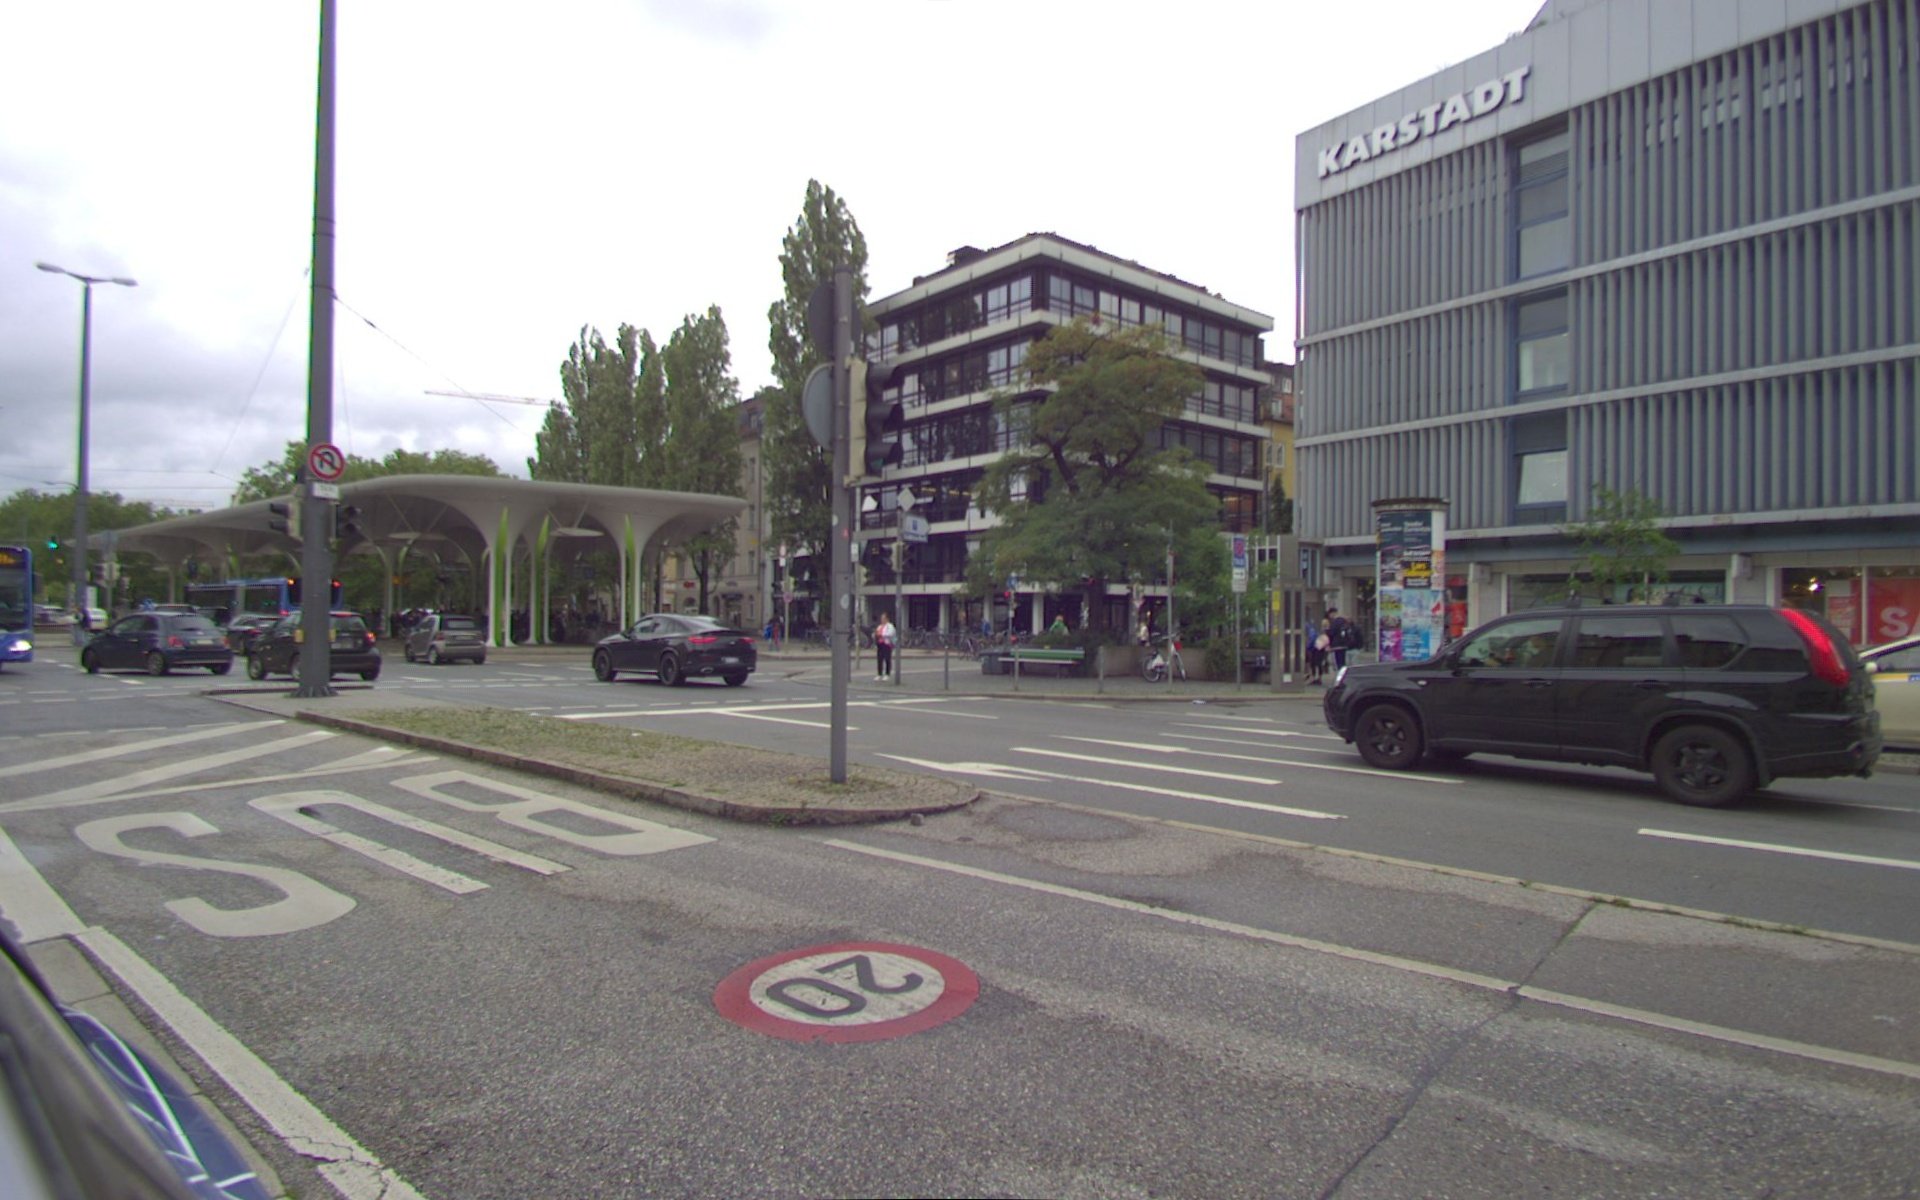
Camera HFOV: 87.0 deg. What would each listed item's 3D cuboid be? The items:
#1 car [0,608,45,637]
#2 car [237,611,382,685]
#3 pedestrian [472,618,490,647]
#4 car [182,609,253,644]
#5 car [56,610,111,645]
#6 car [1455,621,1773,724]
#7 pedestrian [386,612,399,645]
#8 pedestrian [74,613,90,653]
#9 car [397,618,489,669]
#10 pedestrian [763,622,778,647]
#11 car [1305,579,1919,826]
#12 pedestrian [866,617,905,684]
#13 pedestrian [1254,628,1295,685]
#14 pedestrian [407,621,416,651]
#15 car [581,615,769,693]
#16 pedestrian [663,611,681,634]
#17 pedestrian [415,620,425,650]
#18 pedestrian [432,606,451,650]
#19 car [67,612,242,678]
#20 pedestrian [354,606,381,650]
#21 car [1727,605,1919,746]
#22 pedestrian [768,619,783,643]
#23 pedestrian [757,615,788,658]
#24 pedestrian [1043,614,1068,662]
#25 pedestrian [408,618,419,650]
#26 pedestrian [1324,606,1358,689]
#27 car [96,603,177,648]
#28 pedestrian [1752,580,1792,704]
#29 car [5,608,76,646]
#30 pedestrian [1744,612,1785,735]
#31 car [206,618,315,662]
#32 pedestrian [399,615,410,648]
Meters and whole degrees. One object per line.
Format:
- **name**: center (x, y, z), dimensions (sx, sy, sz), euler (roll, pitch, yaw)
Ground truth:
- **car**: center (-59.328, 1.391, 63.952), dimensions (4.000, 1.696, 1.823), euler (0, 1, 42)
- **car**: center (-14.372, 1.015, 22.370), dimensions (2.776, 1.518, 1.547), euler (0, -1, 29)
- **pedestrian**: center (-22.603, 1.530, 47.739), dimensions (0.592, 1.348, 0.542), euler (-1, -2, 41)
- **car**: center (-35.052, 1.228, 47.725), dimensions (3.999, 1.597, 1.907), euler (-1, -2, 42)
- **car**: center (-46.031, 1.408, 53.128), dimensions (4.000, 1.696, 1.737), euler (0, 1, 42)
- **car**: center (10.725, 1.132, 17.029), dimensions (4.277, 1.522, 1.842), euler (0, -1, 28)
- **pedestrian**: center (-26.079, 1.318, 46.518), dimensions (0.419, 1.514, 0.491), euler (1, -2, -23)
- **pedestrian**: center (-31.974, 1.197, 36.845), dimensions (0.380, 1.430, 0.352), euler (-1, -2, 41)
- **car**: center (-16.414, 1.347, 32.096), dimensions (2.744, 1.527, 1.653), euler (-1, -2, 40)
- **pedestrian**: center (-13.054, 2.394, 69.738), dimensions (0.821, 1.712, 0.907), euler (1, -2, -27)
- **car**: center (5.936, 0.789, 9.712), dimensions (1.969, 1.791, 4.604), euler (2, -2, -42)
- **pedestrian**: center (-1.783, 1.196, 24.195), dimensions (0.754, 1.563, 0.636), euler (0, 0, 16)
- **pedestrian**: center (7.521, 1.341, 24.195), dimensions (0.774, 1.318, 0.537), euler (-1, -2, 42)
- **pedestrian**: center (-25.200, 1.639, 46.502), dimensions (0.312, 1.353, 0.340), euler (1, -2, -32)
- **car**: center (-6.560, 1.156, 23.037), dimensions (4.616, 1.589, 1.972), euler (-1, -2, 43)
- **pedestrian**: center (-22.147, 1.737, 77.784), dimensions (0.945, 1.786, 0.977), euler (0, -1, 18)
- **pedestrian**: center (-24.990, 1.599, 46.815), dimensions (0.270, 1.387, 0.299), euler (-1, -2, 39)
- **pedestrian**: center (-22.488, 1.204, 43.876), dimensions (0.656, 1.865, 0.790), euler (1, -2, -29)
- **car**: center (-19.119, 1.050, 24.045), dimensions (3.359, 1.491, 1.619), euler (0, -2, 17)
- **pedestrian**: center (-24.366, 1.144, 41.637), dimensions (0.788, 1.761, 0.702), euler (-1, -2, 41)
- **car**: center (11.971, 0.890, 12.011), dimensions (4.475, 1.624, 1.570), euler (-1, -2, 41)
- **pedestrian**: center (-13.524, 2.272, 74.360), dimensions (0.788, 1.737, 0.828), euler (1, -2, -37)
- **pedestrian**: center (-8.014, 1.544, 43.295), dimensions (0.980, 1.791, 0.849), euler (-1, -2, 42)
- **pedestrian**: center (3.493, 1.389, 37.082), dimensions (0.647, 1.748, 0.757), euler (-1, -2, 34)
- **pedestrian**: center (-25.349, 1.574, 46.939), dimensions (0.316, 1.514, 0.331), euler (-1, -2, 32)
- **pedestrian**: center (8.382, 1.027, 22.255), dimensions (0.510, 1.792, 0.555), euler (0, 0, 44)
- **car**: center (-34.326, 1.047, 42.156), dimensions (4.306, 1.785, 1.972), euler (0, -2, 42)
- **pedestrian**: center (11.674, 0.583, 14.546), dimensions (0.428, 1.742, 0.518), euler (0, 0, 41)
- **car**: center (-39.729, 1.122, 43.687), dimensions (3.999, 1.480, 1.897), euler (0, 1, 42)
- **pedestrian**: center (11.173, 1.007, 14.054), dimensions (0.425, 1.668, 0.360), euler (0, 0, 41)
- **car**: center (-24.422, 1.341, 35.270), dimensions (4.612, 1.427, 1.973), euler (-1, -2, 40)
- **pedestrian**: center (-25.655, 1.462, 46.729), dimensions (0.316, 1.514, 0.317), euler (-1, -2, 32)
